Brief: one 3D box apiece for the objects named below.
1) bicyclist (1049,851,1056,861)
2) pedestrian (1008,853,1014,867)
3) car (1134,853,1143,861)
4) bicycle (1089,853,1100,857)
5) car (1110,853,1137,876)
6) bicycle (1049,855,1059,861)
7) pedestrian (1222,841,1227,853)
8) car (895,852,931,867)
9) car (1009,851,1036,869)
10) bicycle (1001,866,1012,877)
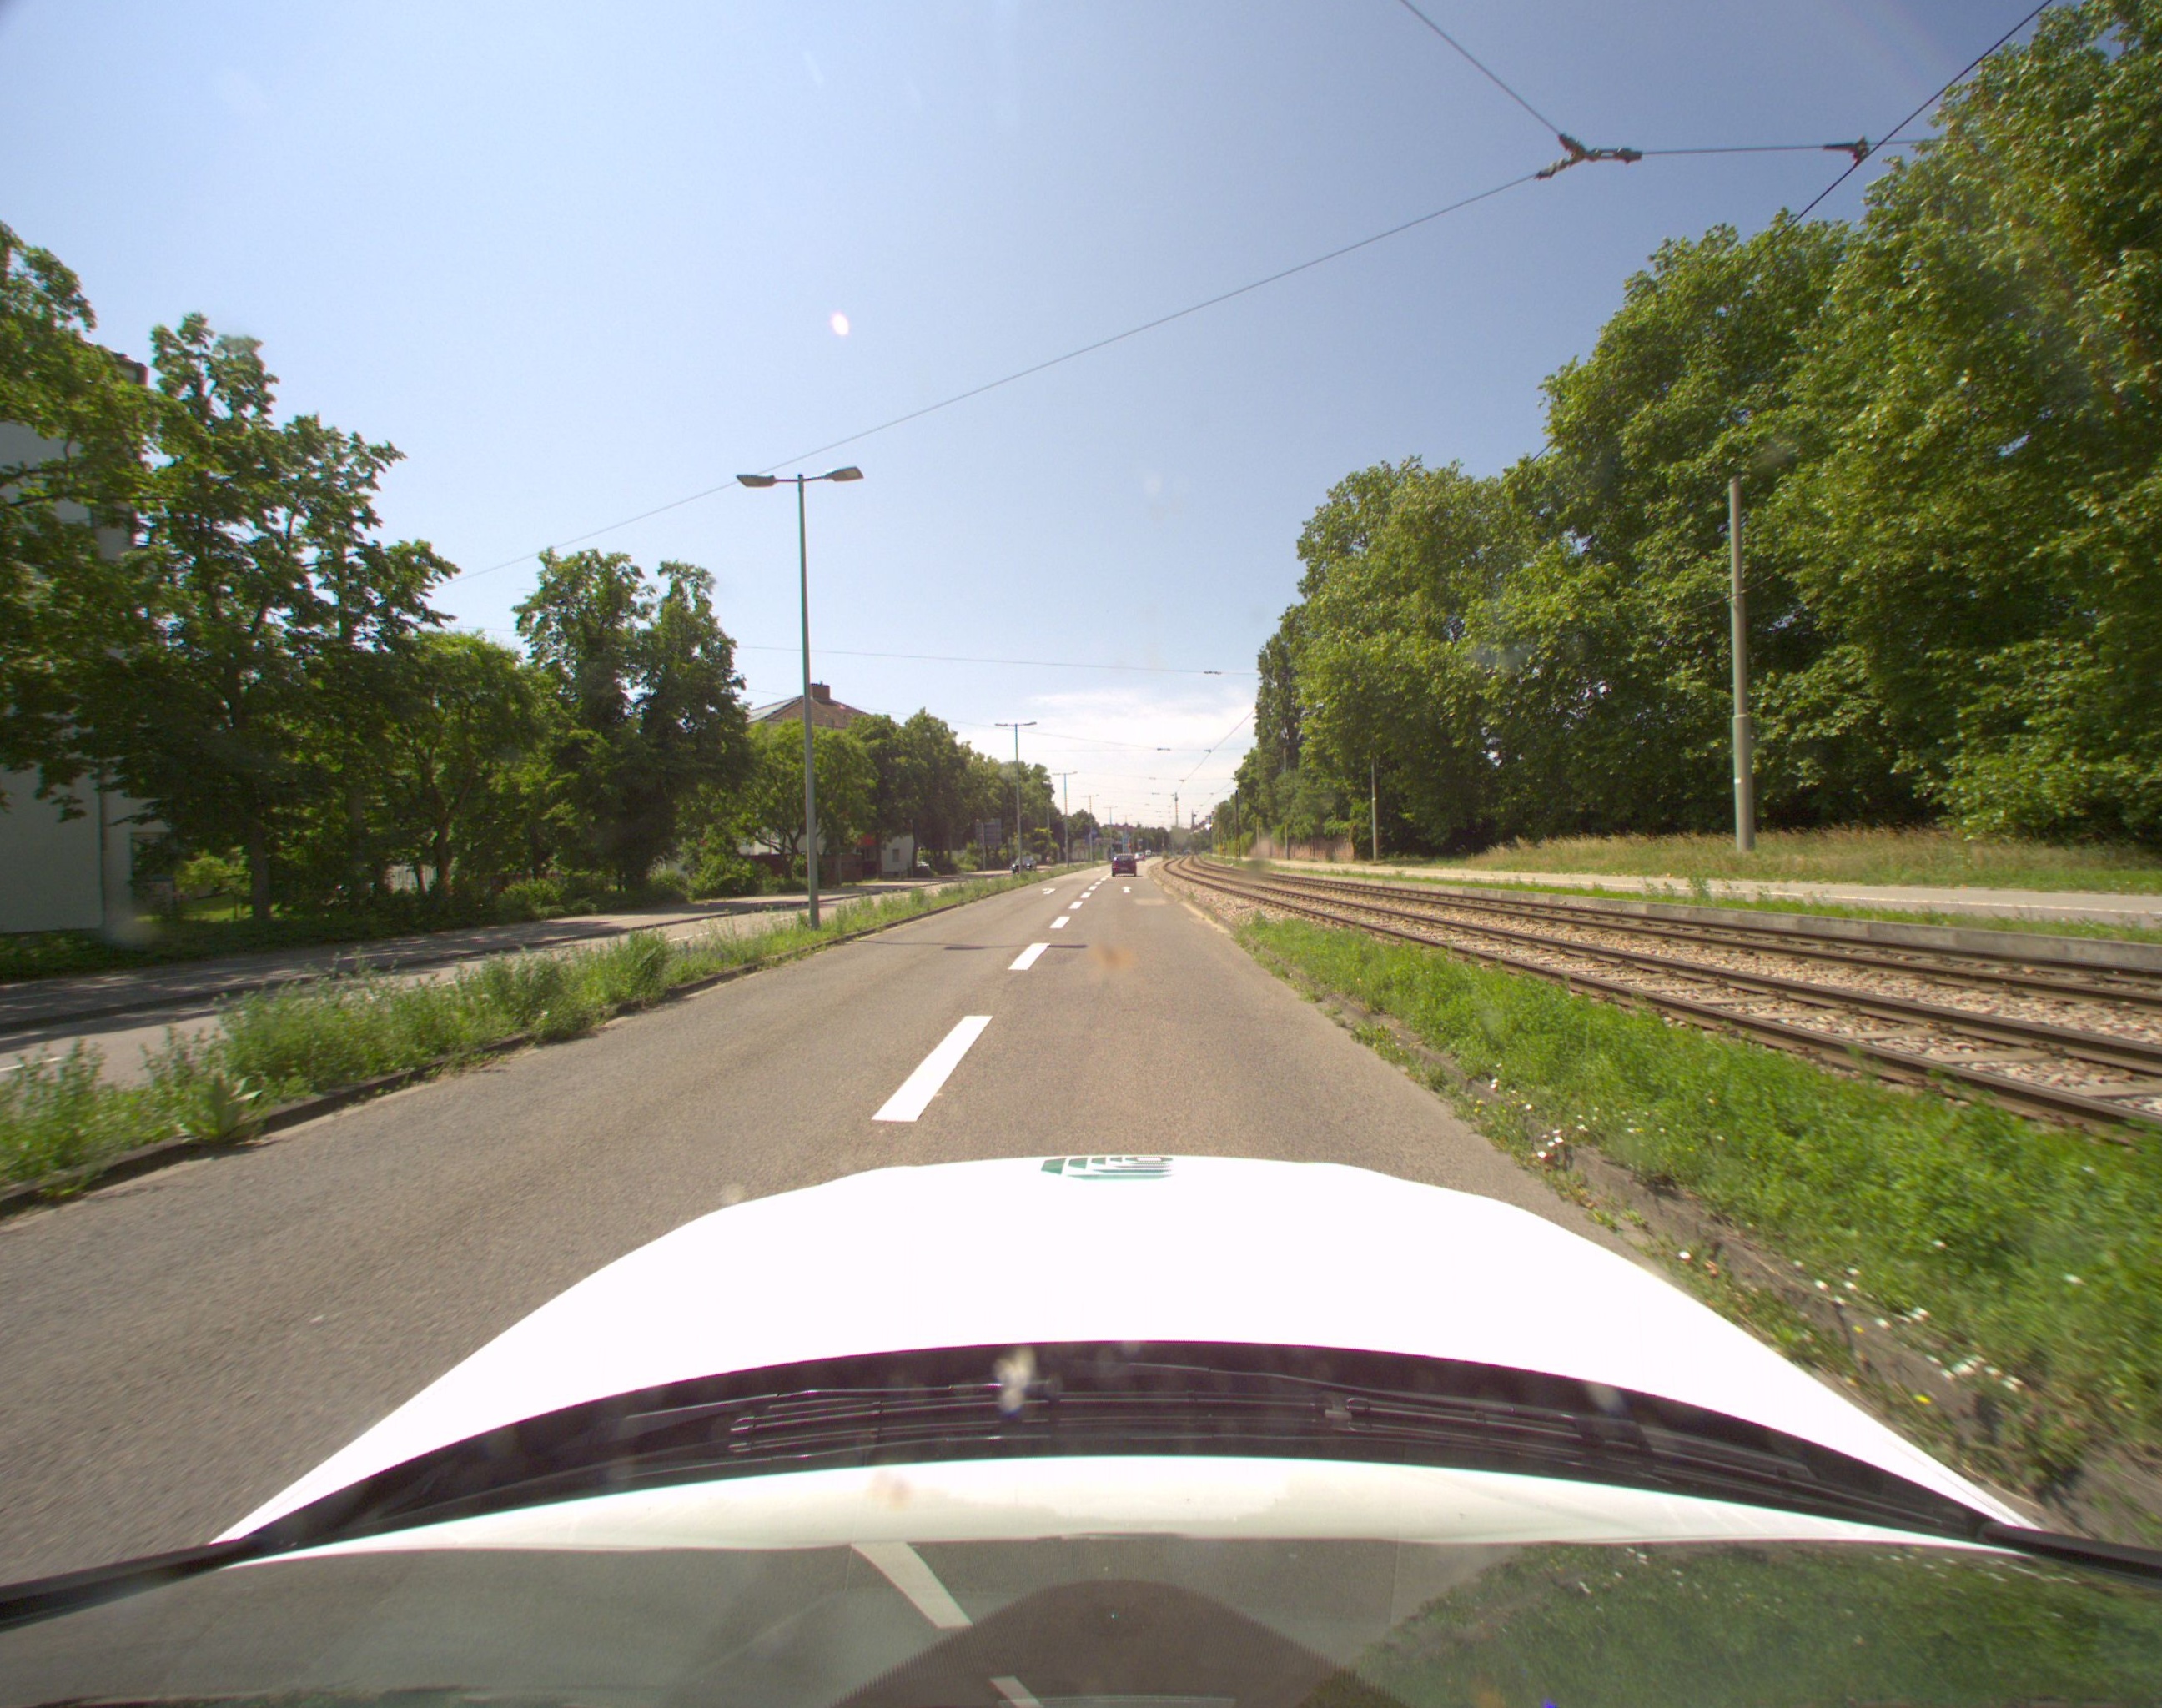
[{"bbox_3d":[-4.292,0.329,123.584,0.968,1.403,0.486,-3,0,-34],"label":"bicyclist"},{"bbox_3d":[-8.866,0.712,102.942,0.544,1.718,0.606,-3,0,20],"label":"pedestrian"},{"bbox_3d":[10.809,0.615,153.015,1.696,1.480,3.719,0,0,3],"label":"car"},{"bbox_3d":[3.140,0.202,190.246,2.547,1.038,1.085,-1,-1,-7],"label":"bicycle"},{"bbox_3d":[2.806,0.679,53.723,1.696,1.477,3.718,0,-1,3],"label":"car"},{"bbox_3d":[-4.088,0.646,123.720,1.438,0.773,0.492,-3,0,-34],"label":"bicycle"},{"bbox_3d":[21.368,-1.101,121.254,0.658,1.726,0.818,-2,0,6],"label":"pedestrian"},{"bbox_3d":[-23.556,0.756,114.182,4.655,1.758,1.998,-3,0,-3],"label":"car"},{"bbox_3d":[-5.661,0.563,79.608,1.915,1.626,4.761,-4,0,3],"label":"car"},{"bbox_3d":[-9.410,2.239,102.944,0.640,1.327,1.581,-3,0,20],"label":"bicycle"}]
